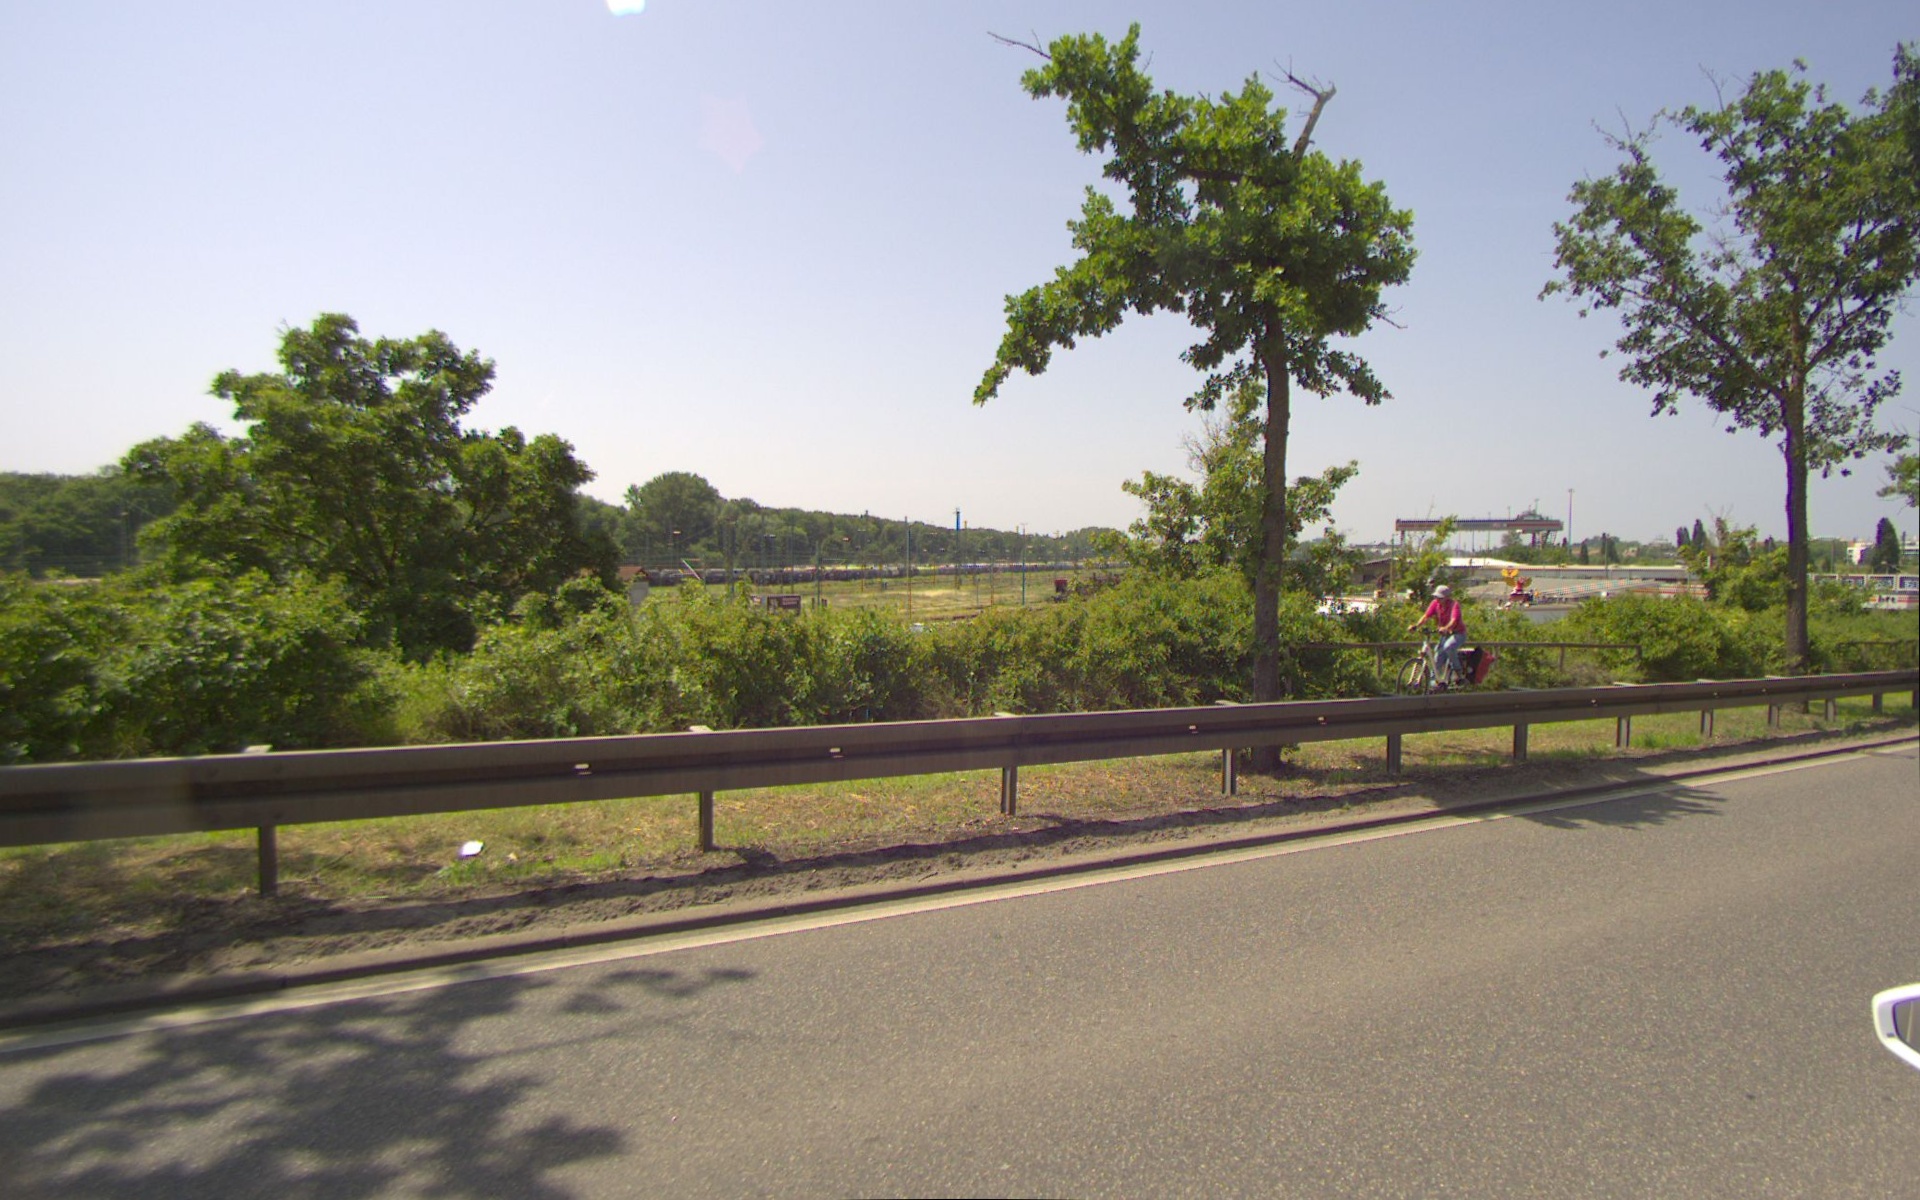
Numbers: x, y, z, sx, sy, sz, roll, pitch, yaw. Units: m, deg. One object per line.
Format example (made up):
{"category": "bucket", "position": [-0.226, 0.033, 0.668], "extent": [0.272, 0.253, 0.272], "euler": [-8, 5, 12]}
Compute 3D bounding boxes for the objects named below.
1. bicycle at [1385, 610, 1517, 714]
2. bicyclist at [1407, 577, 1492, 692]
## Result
{"category": "bicycle", "position": [6.704, 0.817, 13.671], "extent": [2.027, 1.298, 0.729], "euler": [1, 1, -37]}
{"category": "bicyclist", "position": [6.661, 0.451, 13.675], "extent": [0.749, 1.509, 0.736], "euler": [1, 1, -36]}
